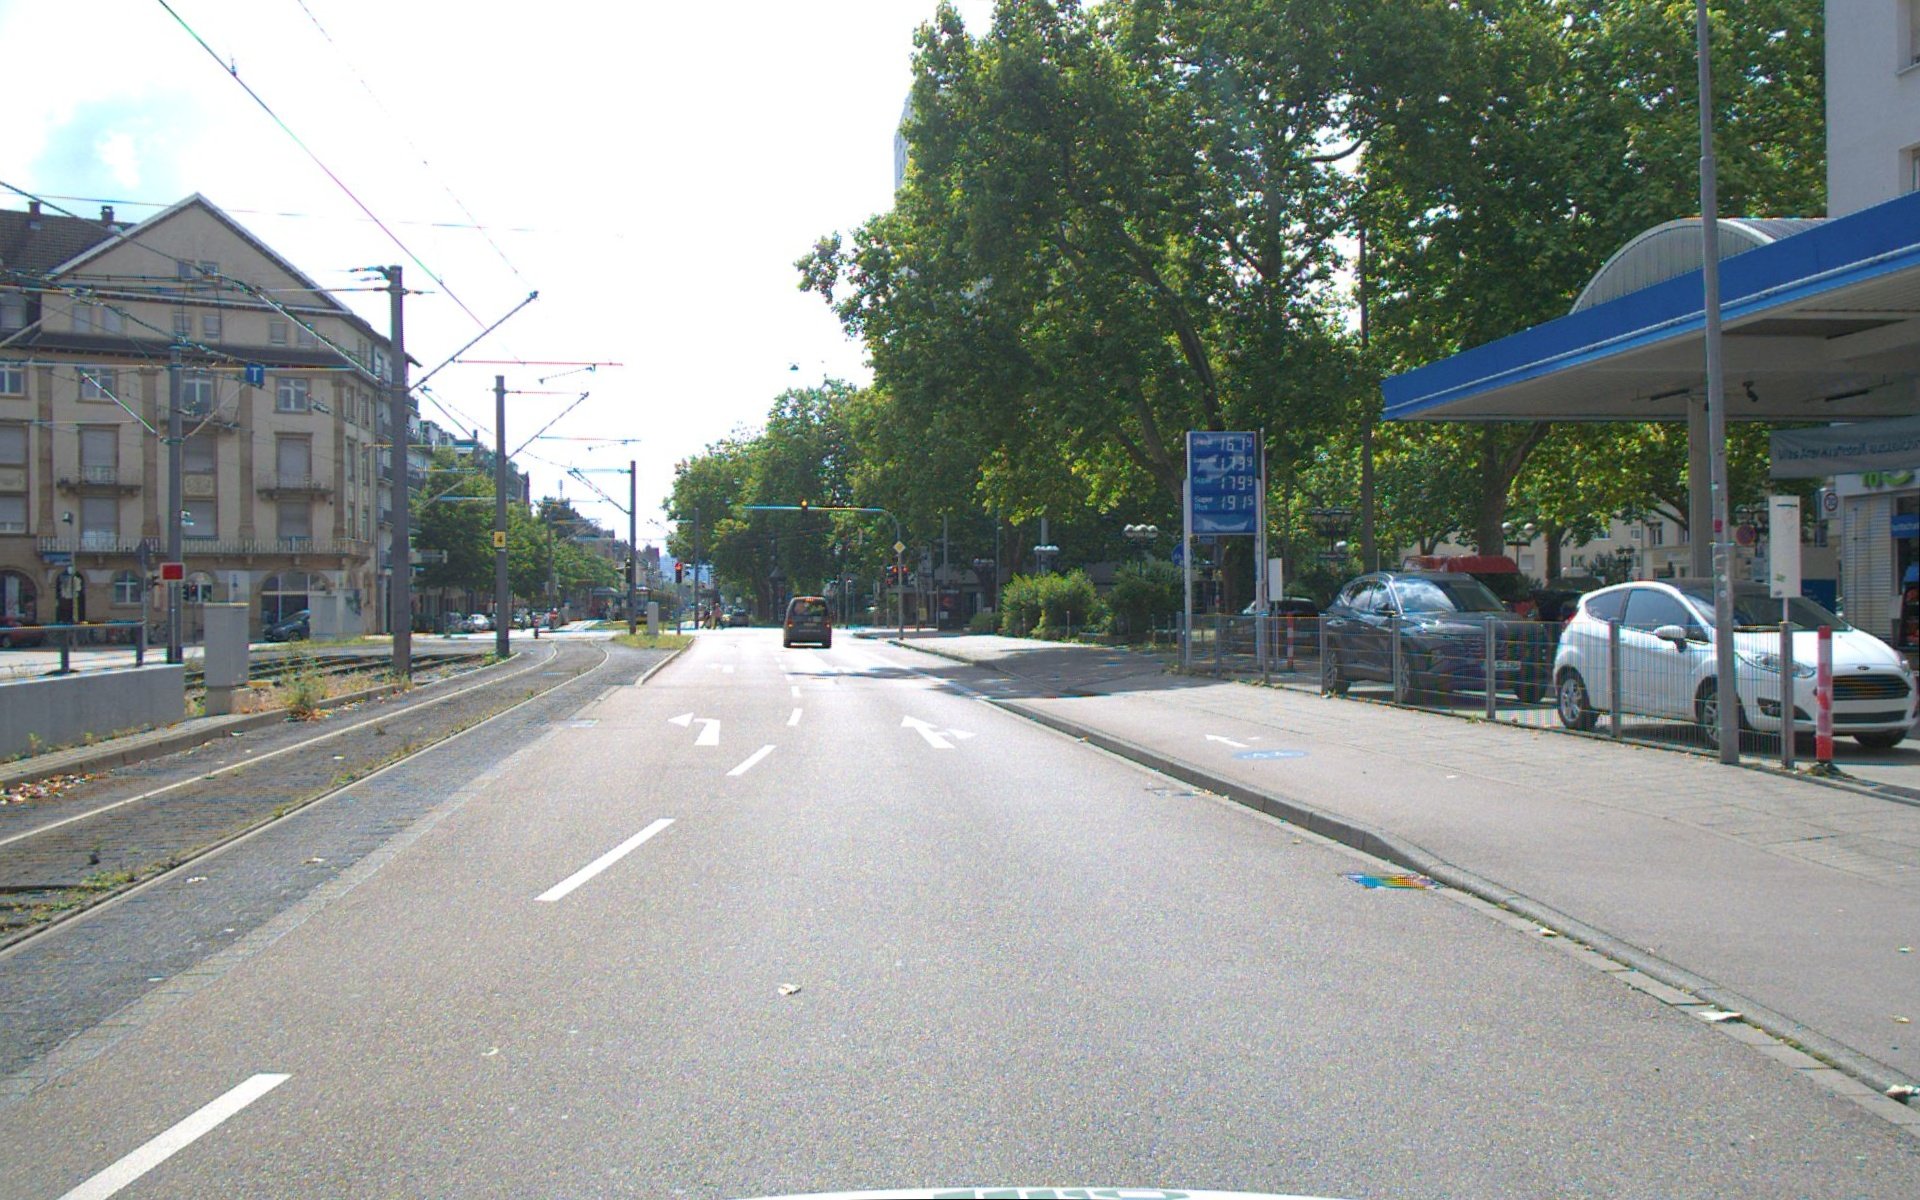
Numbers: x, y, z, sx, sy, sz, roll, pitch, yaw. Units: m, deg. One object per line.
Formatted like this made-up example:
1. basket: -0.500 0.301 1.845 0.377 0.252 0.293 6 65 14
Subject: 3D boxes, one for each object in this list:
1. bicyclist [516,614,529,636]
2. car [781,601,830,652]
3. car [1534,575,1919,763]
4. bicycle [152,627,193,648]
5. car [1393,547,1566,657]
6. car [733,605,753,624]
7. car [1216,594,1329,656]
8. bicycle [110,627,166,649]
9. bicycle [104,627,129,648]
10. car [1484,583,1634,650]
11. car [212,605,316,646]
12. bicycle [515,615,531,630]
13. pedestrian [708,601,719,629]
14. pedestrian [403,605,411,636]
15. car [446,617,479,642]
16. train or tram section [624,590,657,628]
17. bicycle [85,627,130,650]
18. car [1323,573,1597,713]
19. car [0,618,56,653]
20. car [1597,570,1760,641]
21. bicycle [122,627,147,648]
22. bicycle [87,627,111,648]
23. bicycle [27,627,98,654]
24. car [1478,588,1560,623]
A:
1. bicyclist: -31.761 1.796 120.028 0.764 1.538 0.998 -1 0 -10
2. car: -5.827 0.979 62.205 1.717 1.840 3.469 1 -1 -7
3. car: 7.059 0.550 15.175 1.772 1.481 3.994 0 0 -8
4. bicycle: -42.055 1.991 88.339 0.786 1.071 2.567 -1 0 4
5. car: 13.427 0.056 43.193 2.071 2.627 6.011 -1 0 -6
6. car: -20.449 1.350 155.921 1.828 1.783 3.993 -1 0 -8
7. car: 7.994 0.622 42.616 1.618 1.496 4.035 -1 0 -8
8. bicycle: -42.669 1.970 85.917 2.537 1.071 0.674 -1 0 -36
9. bicycle: -44.285 1.973 86.843 0.797 1.071 2.533 -1 0 -36
10. car: 15.946 0.434 44.294 1.968 1.680 4.646 0 0 -6
11. car: -36.381 1.311 86.517 4.747 2.049 1.977 -1 0 -33
12. bicycle: -31.745 1.633 120.206 0.877 1.067 2.305 -1 0 -8
13. pedestrian: -16.525 0.993 110.890 0.647 1.816 0.659 -1 -1 -8
14. pedestrian: -36.567 1.380 109.406 0.469 2.049 0.418 -1 -1 -13
15. car: -41.703 2.449 138.729 1.956 2.049 3.993 -1 0 -7
16. train or tram section: -30.186 0.835 156.699 2.198 3.390 12.950 -1 0 -7
17. bicycle: -43.476 1.947 84.378 1.962 1.134 0.479 -1 -1 -45
18. car: 6.396 0.514 21.740 1.771 1.630 4.576 0 0 -7
19. car: -47.727 1.799 83.243 3.908 1.704 1.999 -1 0 25
20. car: 18.961 0.146 43.877 1.968 1.785 4.646 0 0 -6
21. bicycle: -43.602 1.982 87.352 0.797 1.071 2.533 -1 0 -36
22. bicycle: -44.965 1.965 86.391 0.734 1.071 2.533 -1 0 -36
23. bicycle: -45.885 2.073 84.578 3.239 1.275 0.999 -1 0 9
24. car: 34.476 0.317 102.129 4.330 2.049 2.074 -1 0 -7
